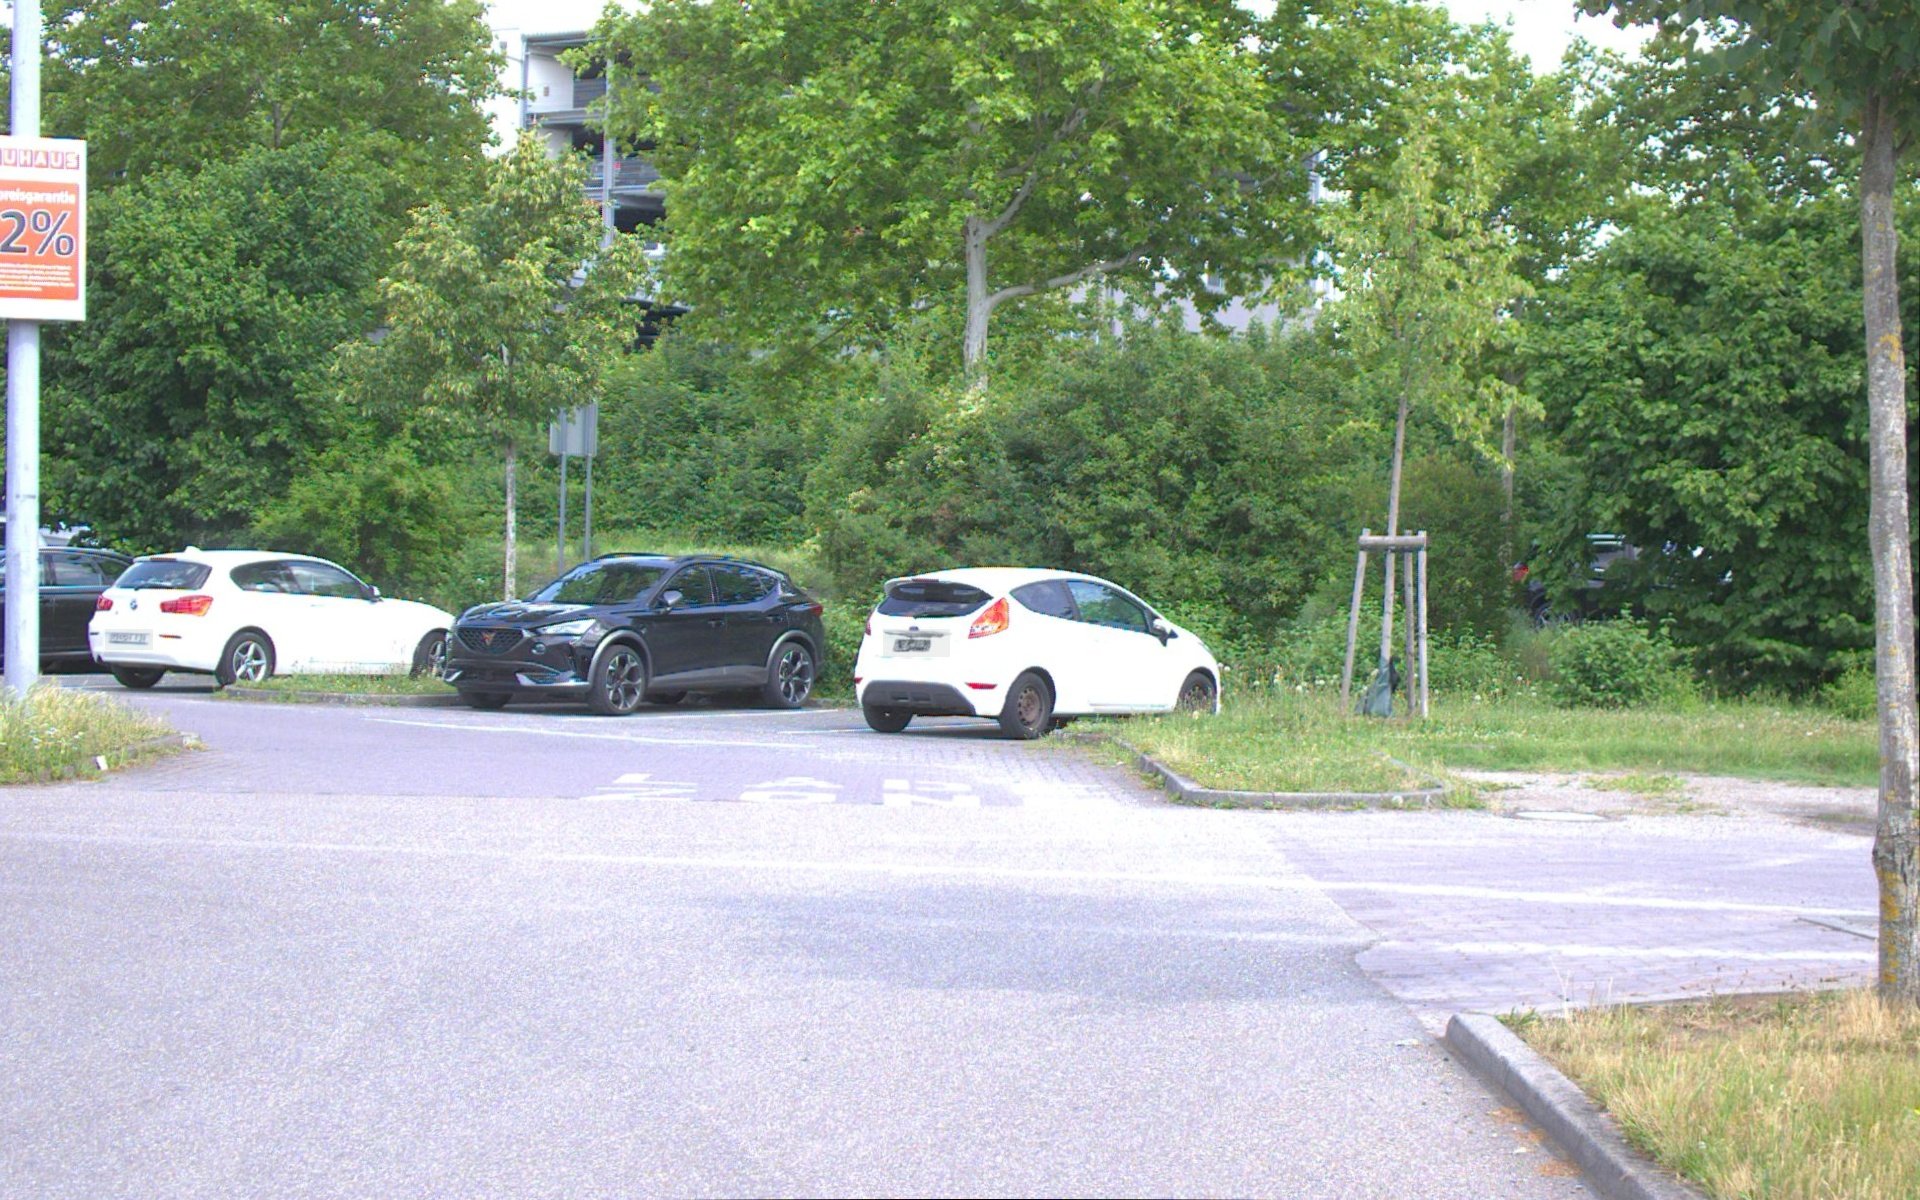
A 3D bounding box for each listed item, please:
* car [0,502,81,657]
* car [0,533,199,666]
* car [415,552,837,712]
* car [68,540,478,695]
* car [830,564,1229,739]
[{"bbox_3d":[-12.889,-0.267,40.035,1.988,1.836,5.138,2,1,33],"label":"car"},{"bbox_3d":[-10.943,-0.028,38.489,1.837,1.446,4.715,2,1,35],"label":"car"},{"bbox_3d":[-3.146,0.277,33.166,1.731,1.405,4.234,2,1,34],"label":"car"},{"bbox_3d":[-7.067,0.160,35.694,1.688,1.504,4.073,1,1,37],"label":"car"},{"bbox_3d":[0.661,0.417,30.295,1.668,1.407,3.549,2,1,39],"label":"car"}]
